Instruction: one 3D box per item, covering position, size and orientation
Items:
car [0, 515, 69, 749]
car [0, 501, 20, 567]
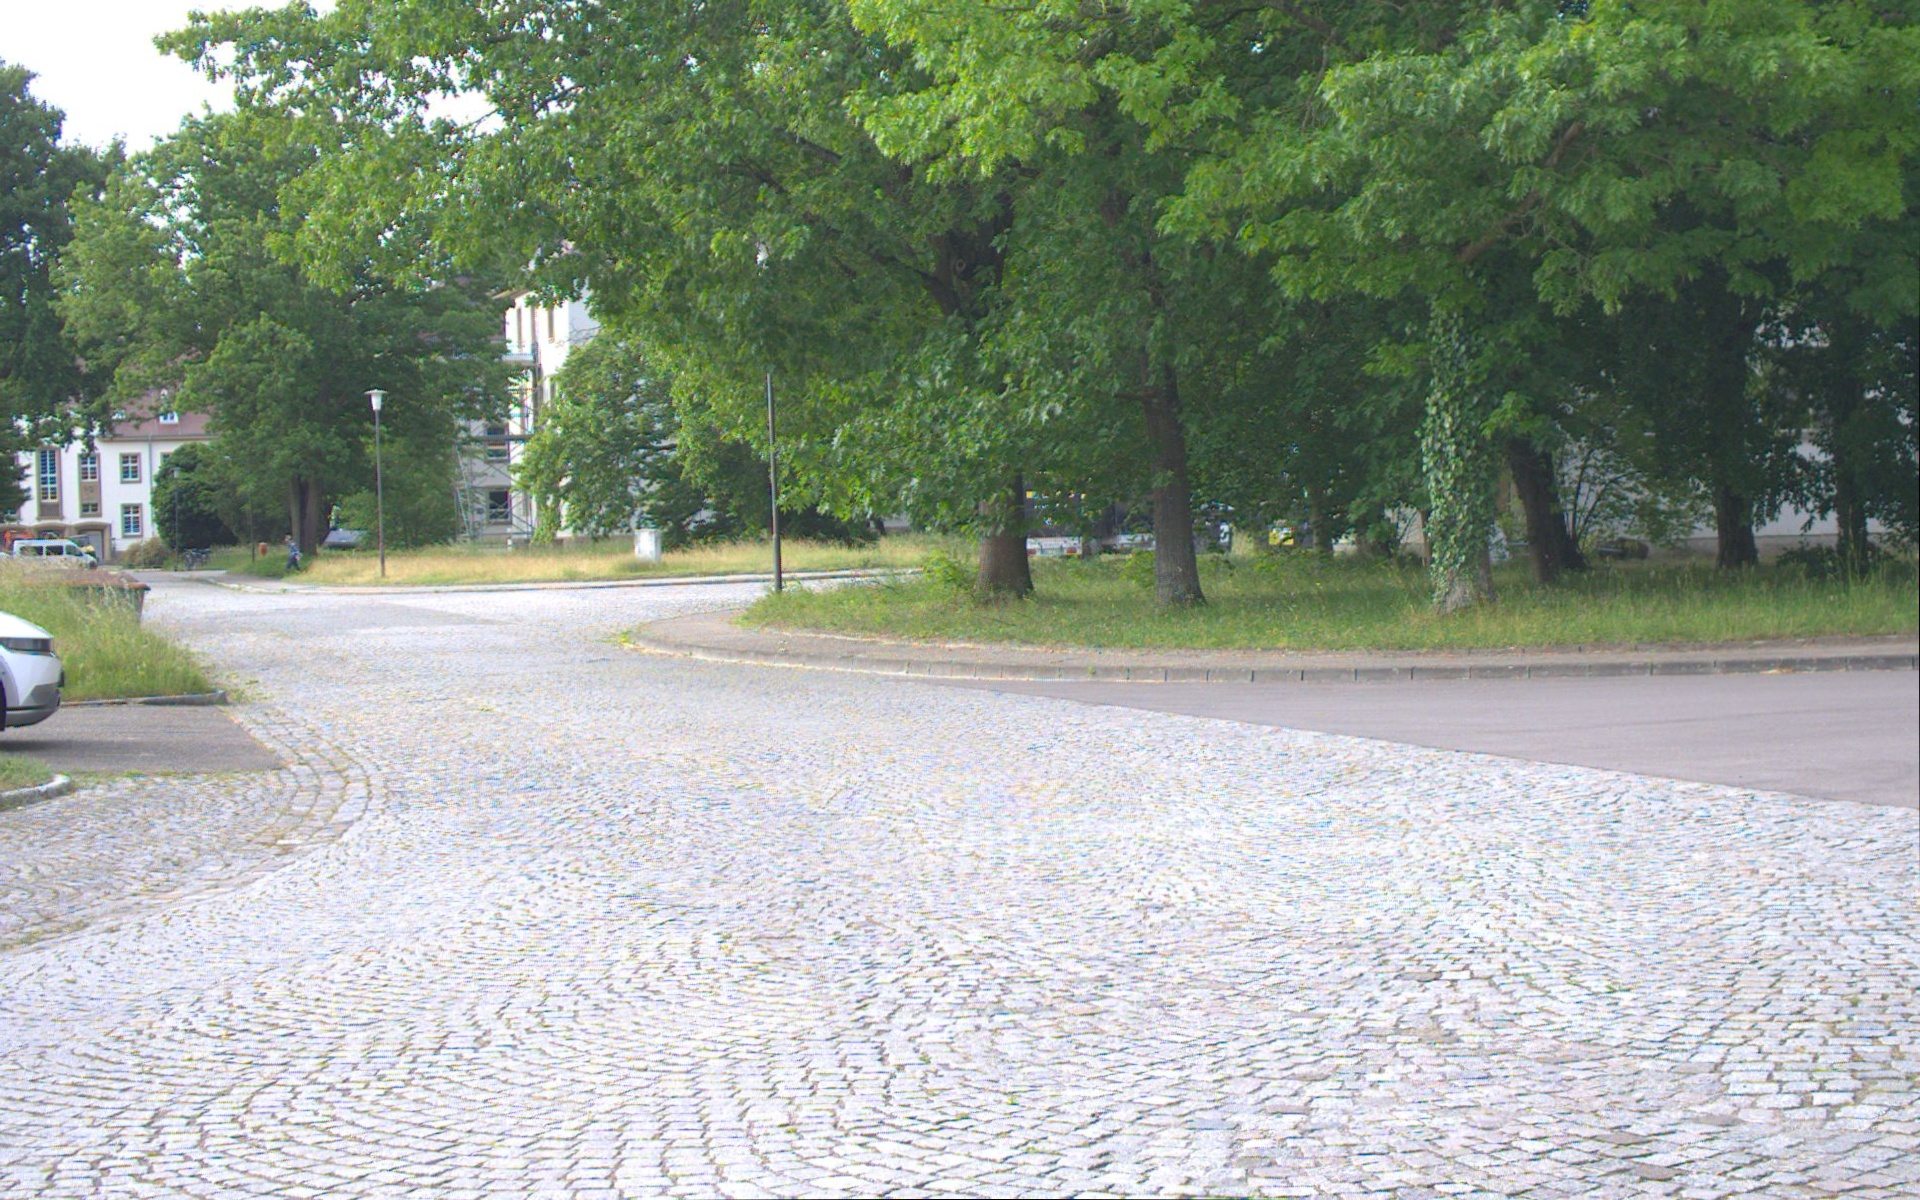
[{"bbox_3d":[-8.649,0.281,24.133,4.533,1.594,2.001,-2,1,-13],"label":"car"},{"bbox_3d":[-36.066,-2.261,121.965,5.169,2.329,2.001,-2,1,-16],"label":"car"}]
